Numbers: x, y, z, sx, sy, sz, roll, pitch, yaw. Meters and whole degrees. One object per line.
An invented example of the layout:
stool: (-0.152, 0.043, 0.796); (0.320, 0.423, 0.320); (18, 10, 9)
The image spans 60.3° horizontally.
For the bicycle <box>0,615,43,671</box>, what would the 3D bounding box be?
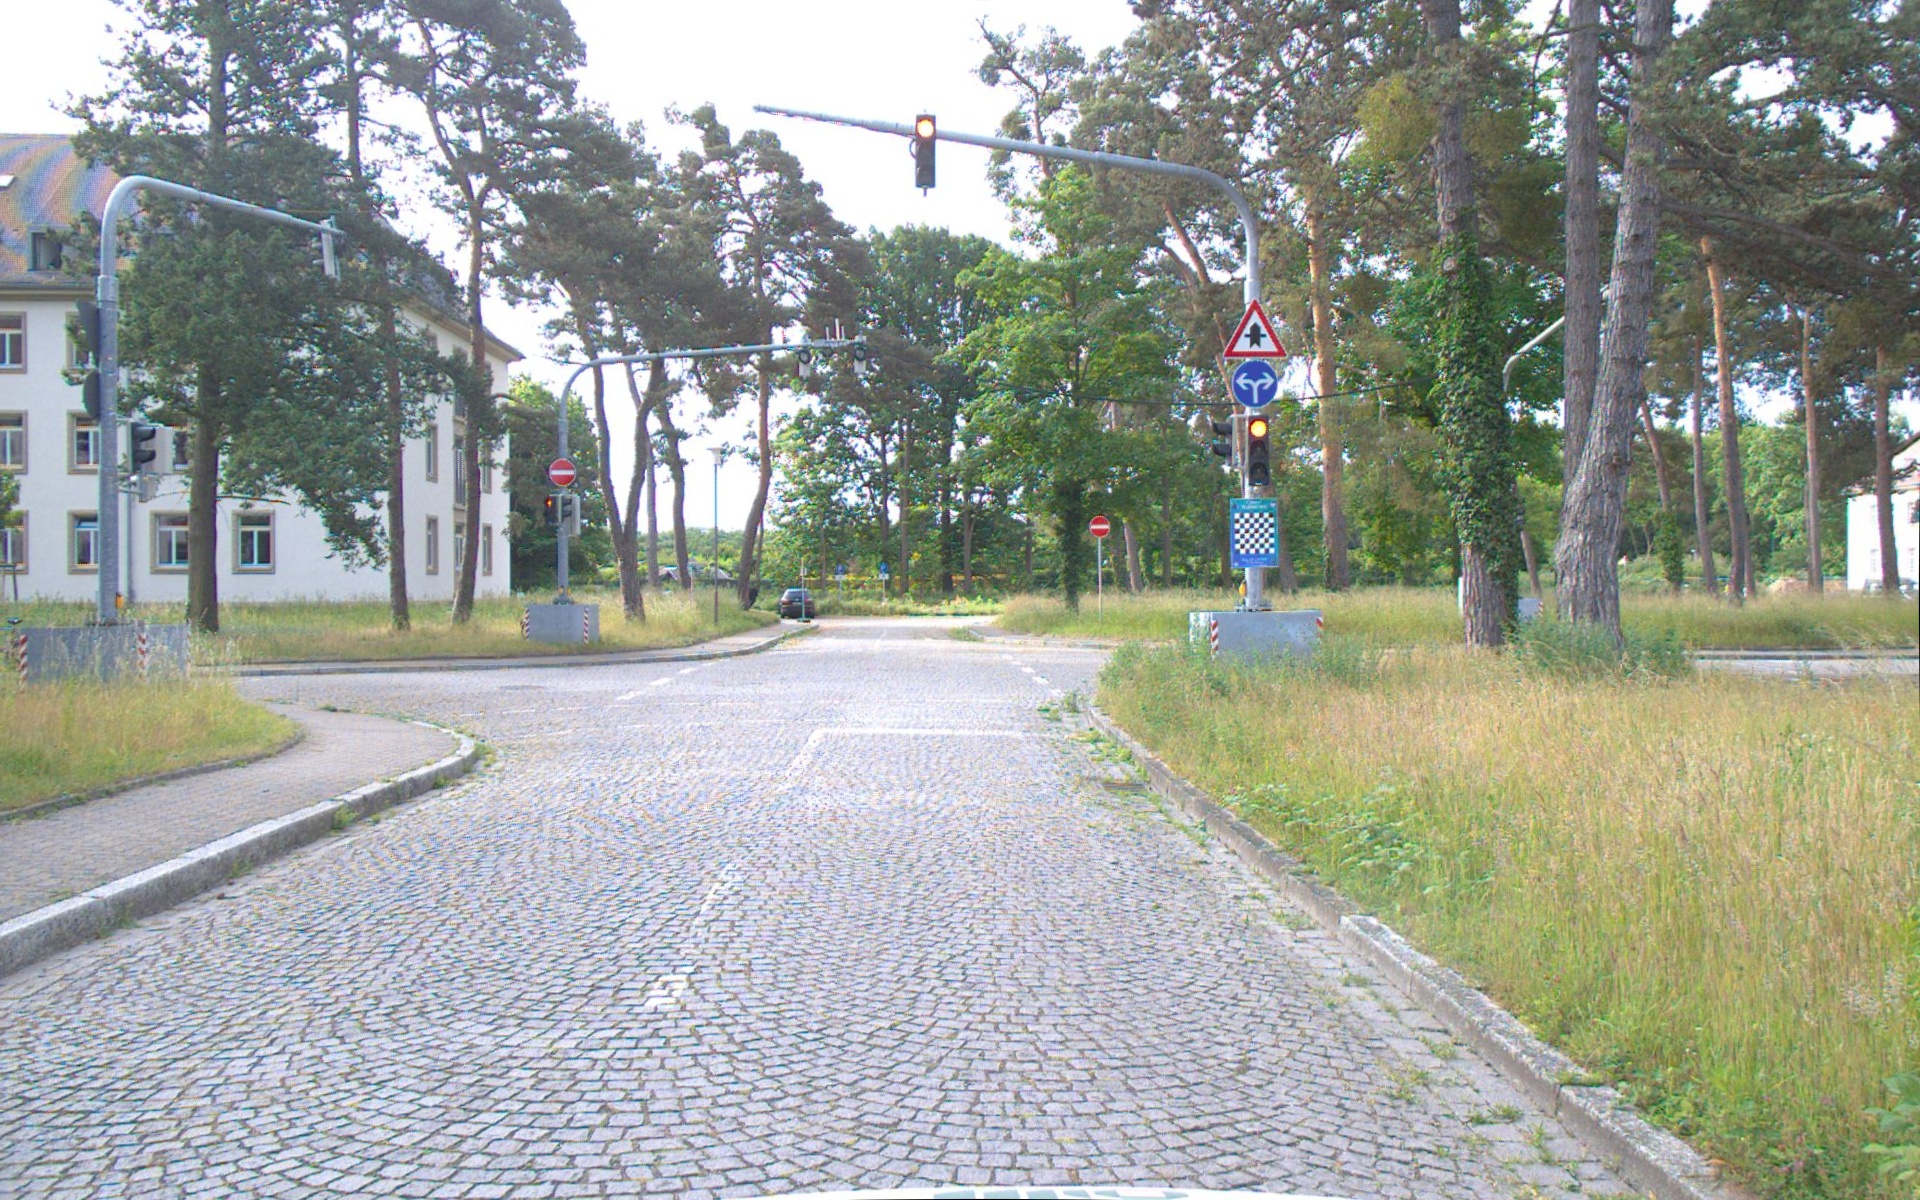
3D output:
bicycle: (-17.771, 0.791, 30.505); (1.429, 1.013, 0.452); (-1, 0, -1)

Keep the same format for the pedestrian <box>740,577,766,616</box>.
pedestrian: (-10.359, -0.181, 82.688); (1.186, 1.923, 0.747); (-1, 0, 0)

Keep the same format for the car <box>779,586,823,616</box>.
car: (-8.461, 0.036, 88.195); (1.953, 1.534, 3.999); (1, 0, -1)
